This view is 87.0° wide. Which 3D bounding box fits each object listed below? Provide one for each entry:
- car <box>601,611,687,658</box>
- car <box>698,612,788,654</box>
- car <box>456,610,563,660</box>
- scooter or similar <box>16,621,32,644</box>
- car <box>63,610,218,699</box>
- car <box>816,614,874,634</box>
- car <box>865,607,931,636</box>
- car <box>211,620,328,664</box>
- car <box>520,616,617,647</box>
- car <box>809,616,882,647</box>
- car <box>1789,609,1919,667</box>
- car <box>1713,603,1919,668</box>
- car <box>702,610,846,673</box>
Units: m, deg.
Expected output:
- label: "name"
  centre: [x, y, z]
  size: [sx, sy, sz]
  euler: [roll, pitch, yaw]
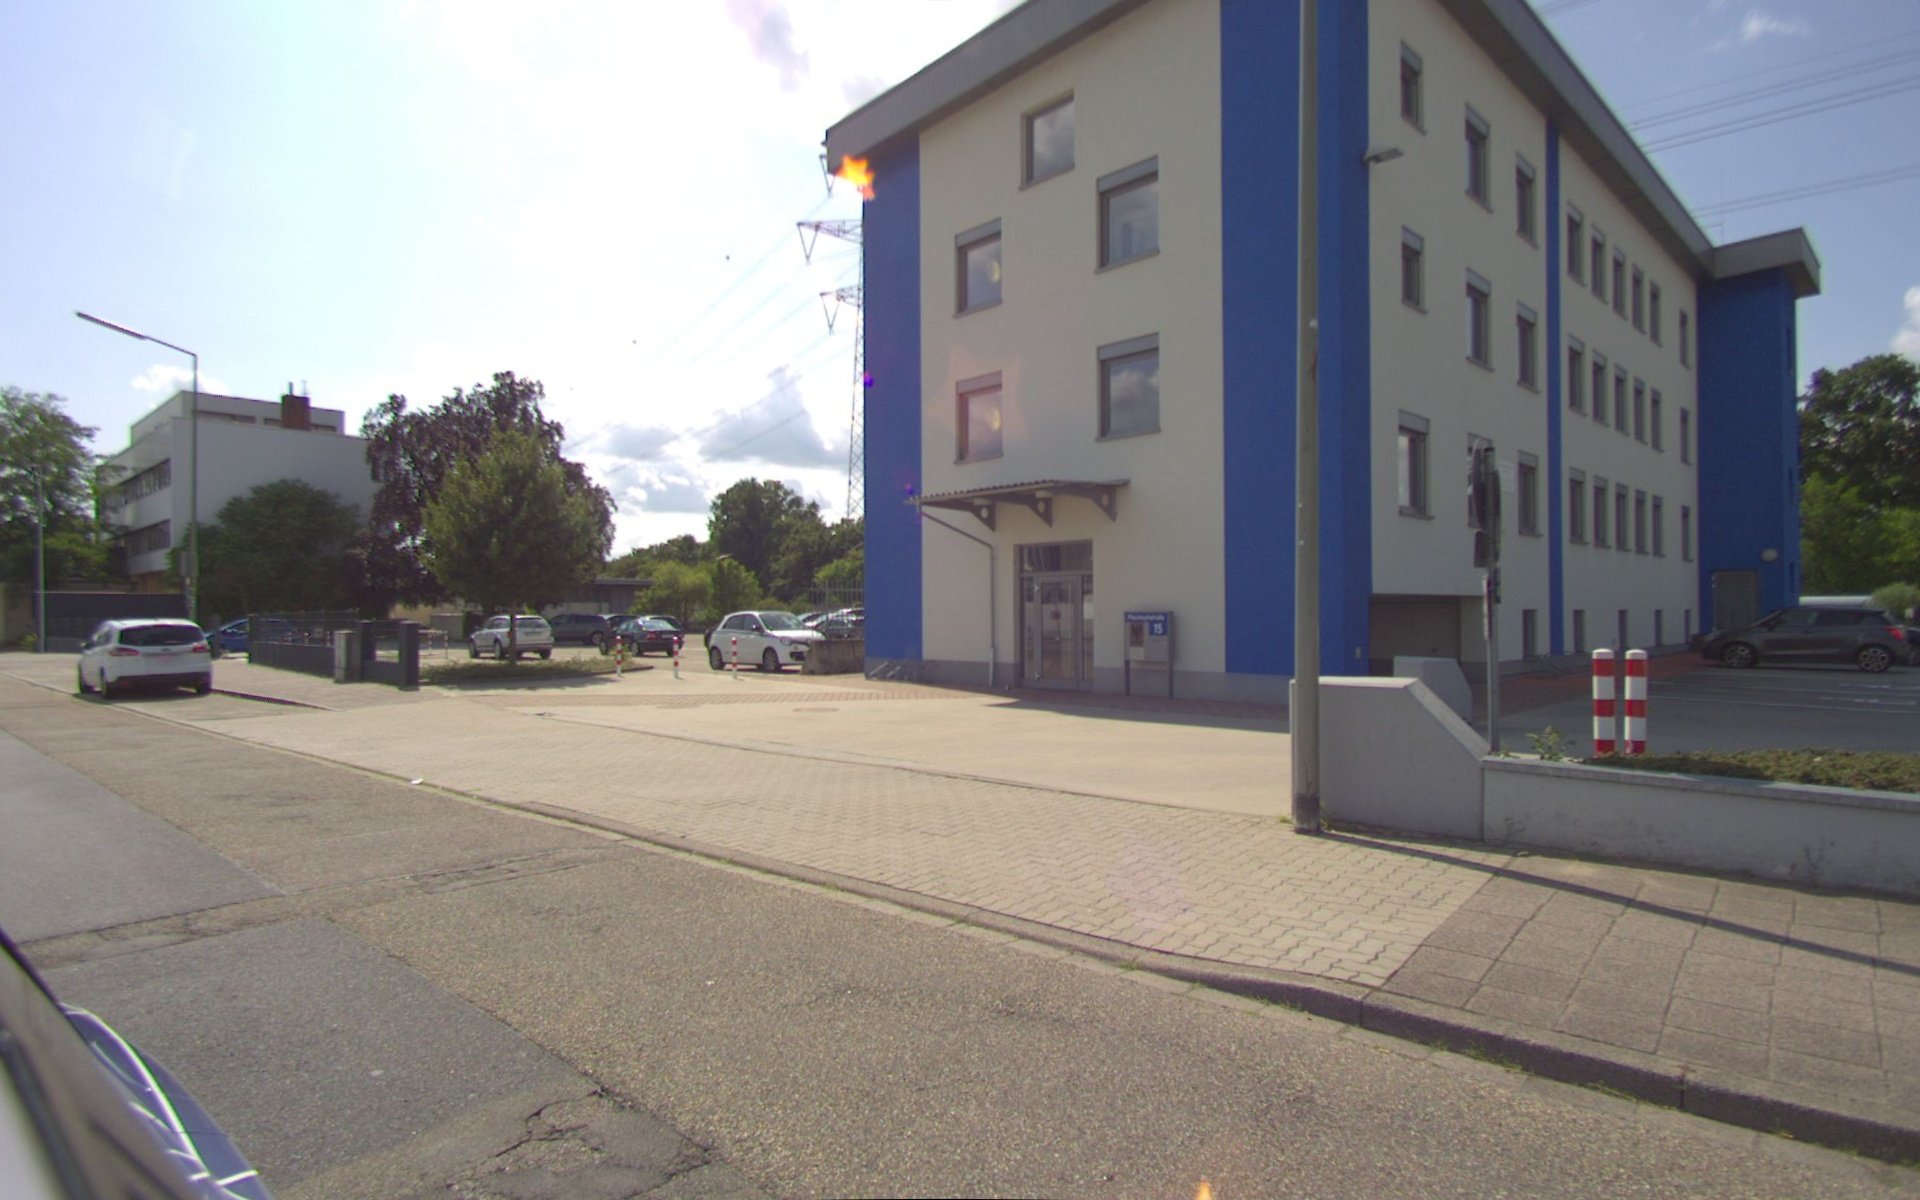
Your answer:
- label: "car"
  centre: [-12.171, 1.284, 38.904]
  size: [1.850, 1.721, 3.483]
  euler: [1, -1, -43]
- label: "car"
  centre: [-9.230, 1.360, 42.891]
  size: [1.851, 1.721, 4.070]
  euler: [1, -1, -44]
- label: "car"
  centre: [-15.834, 1.185, 35.450]
  size: [1.803, 1.649, 4.847]
  euler: [1, -2, -45]
- label: "scooter or similar"
  centre: [-54.275, 1.860, 58.679]
  size: [1.360, 1.288, 0.477]
  euler: [-1, 2, 41]
- label: "car"
  centre: [-18.082, 1.114, 22.248]
  size: [4.750, 1.721, 1.848]
  euler: [-1, 0, 41]
- label: "car"
  centre: [-7.208, 1.506, 63.576]
  size: [3.273, 1.240, 1.682]
  euler: [1, -2, -44]
- label: "car"
  centre: [-3.906, 1.359, 64.068]
  size: [3.720, 1.798, 1.992]
  euler: [1, -2, -39]
- label: "car"
  centre: [-28.221, 1.680, 41.425]
  size: [1.877, 1.721, 3.610]
  euler: [-1, -1, 40]
- label: "car"
  centre: [-19.329, 1.538, 50.089]
  size: [4.150, 1.513, 1.682]
  euler: [1, -2, -45]
- label: "car"
  centre: [-5.198, 1.393, 45.670]
  size: [1.517, 1.332, 3.768]
  euler: [1, -2, -38]
- label: "car"
  centre: [23.766, 0.950, 26.012]
  size: [1.544, 1.386, 3.683]
  euler: [1, 0, -45]
- label: "car"
  centre: [19.801, 0.805, 23.356]
  size: [1.544, 1.386, 3.682]
  euler: [1, -2, -45]
- label: "car"
  centre: [-4.854, 1.026, 26.180]
  size: [3.759, 1.518, 1.852]
  euler: [-1, -1, 44]
